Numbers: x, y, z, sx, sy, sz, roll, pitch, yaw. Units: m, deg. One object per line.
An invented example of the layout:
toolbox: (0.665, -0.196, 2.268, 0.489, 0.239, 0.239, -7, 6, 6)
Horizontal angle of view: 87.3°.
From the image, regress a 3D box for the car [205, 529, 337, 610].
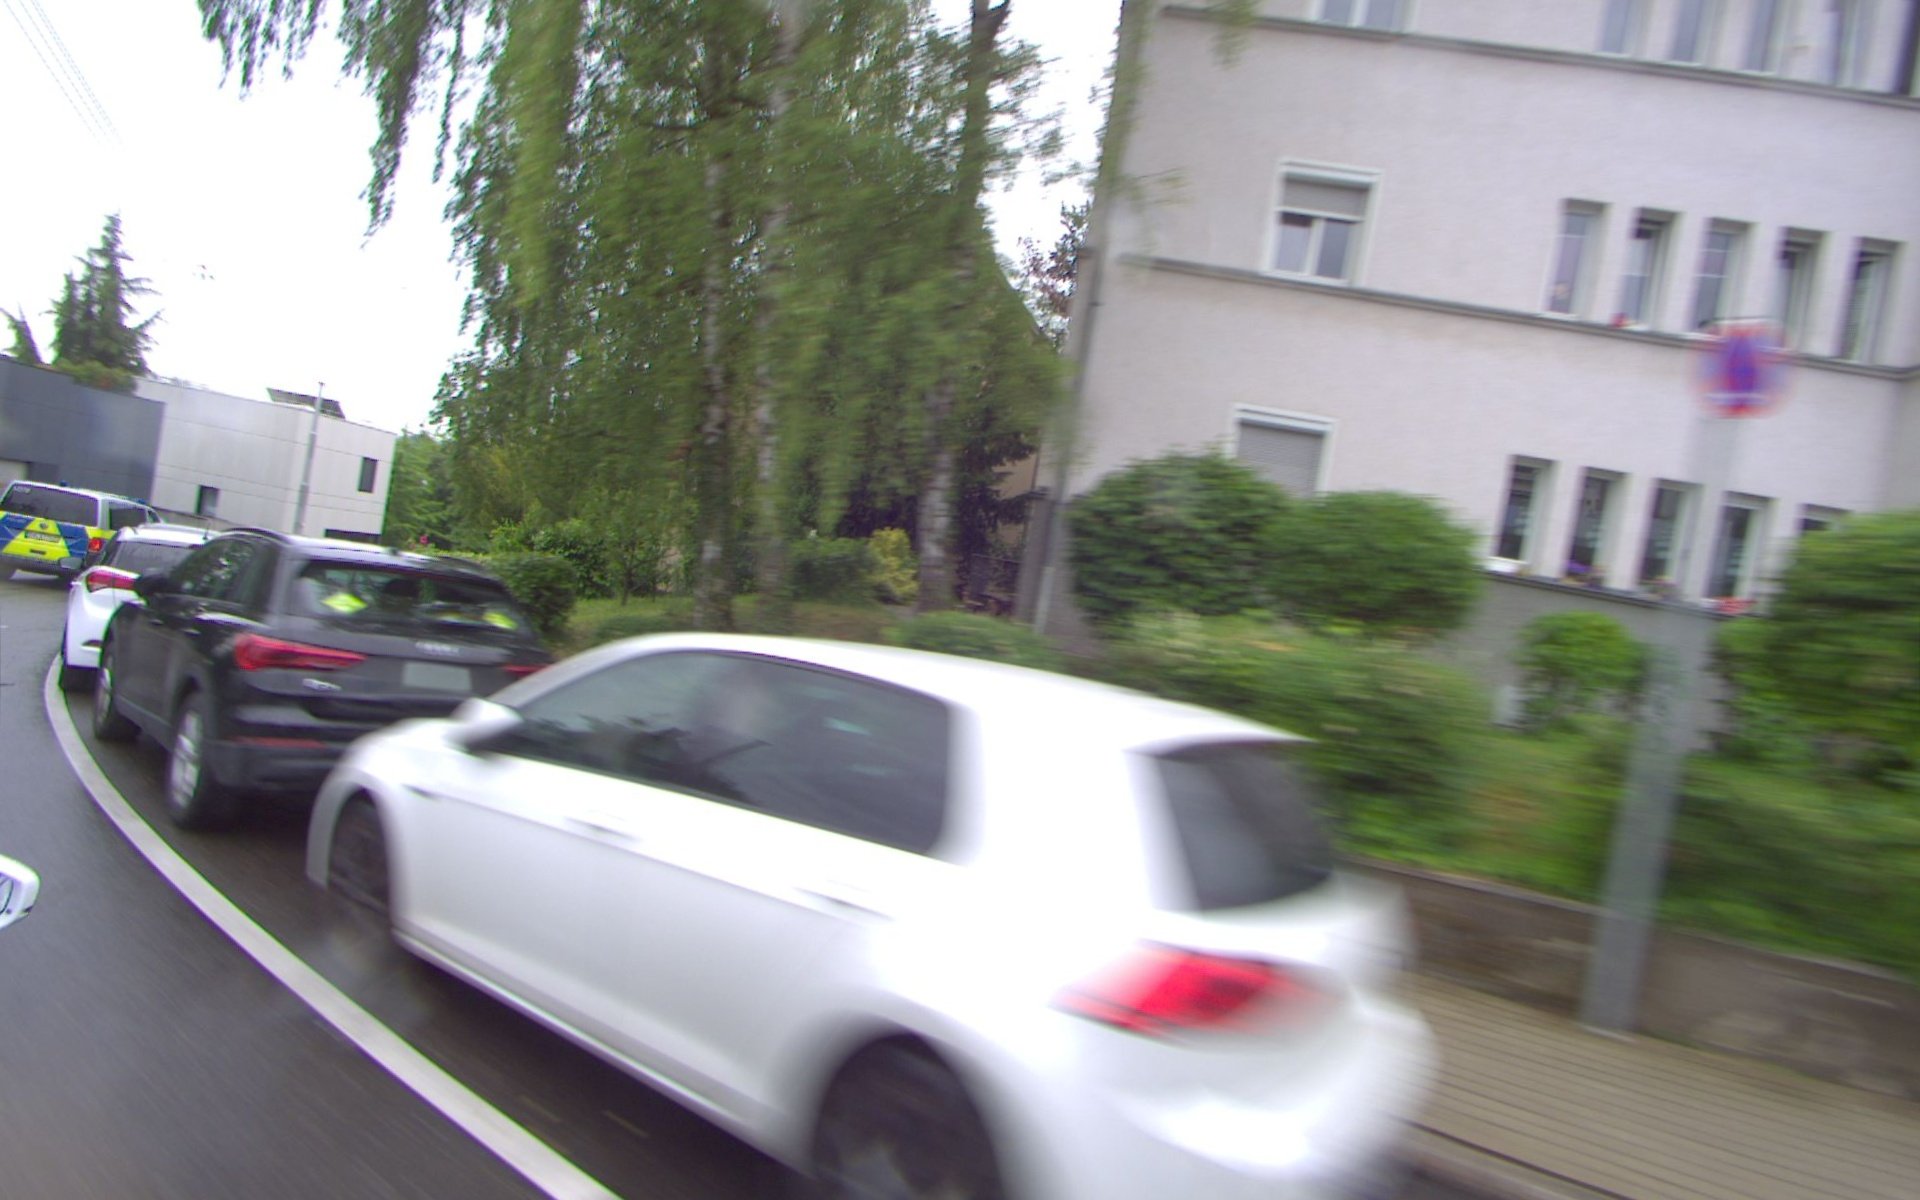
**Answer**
car: (-15.511, -0.673, 22.849, 1.665, 1.489, 3.719, 7, -1, -24)

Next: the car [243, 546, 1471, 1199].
car: (-0.635, 0.792, 3.577, 4.042, 1.462, 1.792, 6, -3, 36)

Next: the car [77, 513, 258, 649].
car: (-10.898, -0.292, 14.056, 1.610, 1.523, 3.572, 7, -1, -34)

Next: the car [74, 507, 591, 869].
car: (-4.275, 0.358, 6.510, 4.268, 1.536, 1.623, 7, -2, 43)

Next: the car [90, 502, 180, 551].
car: (-32.633, -2.910, 39.764, 3.941, 1.315, 1.893, 9, -3, 39)

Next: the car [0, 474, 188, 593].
car: (-18.310, -1.273, 21.167, 1.976, 1.913, 4.548, 10, -4, -23)

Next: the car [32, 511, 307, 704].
car: (-7.925, -0.004, 10.029, 1.720, 1.482, 3.985, 7, -1, -41)

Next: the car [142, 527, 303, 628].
car: (-13.204, -0.419, 18.250, 1.701, 1.453, 4.040, 7, -1, -29)
